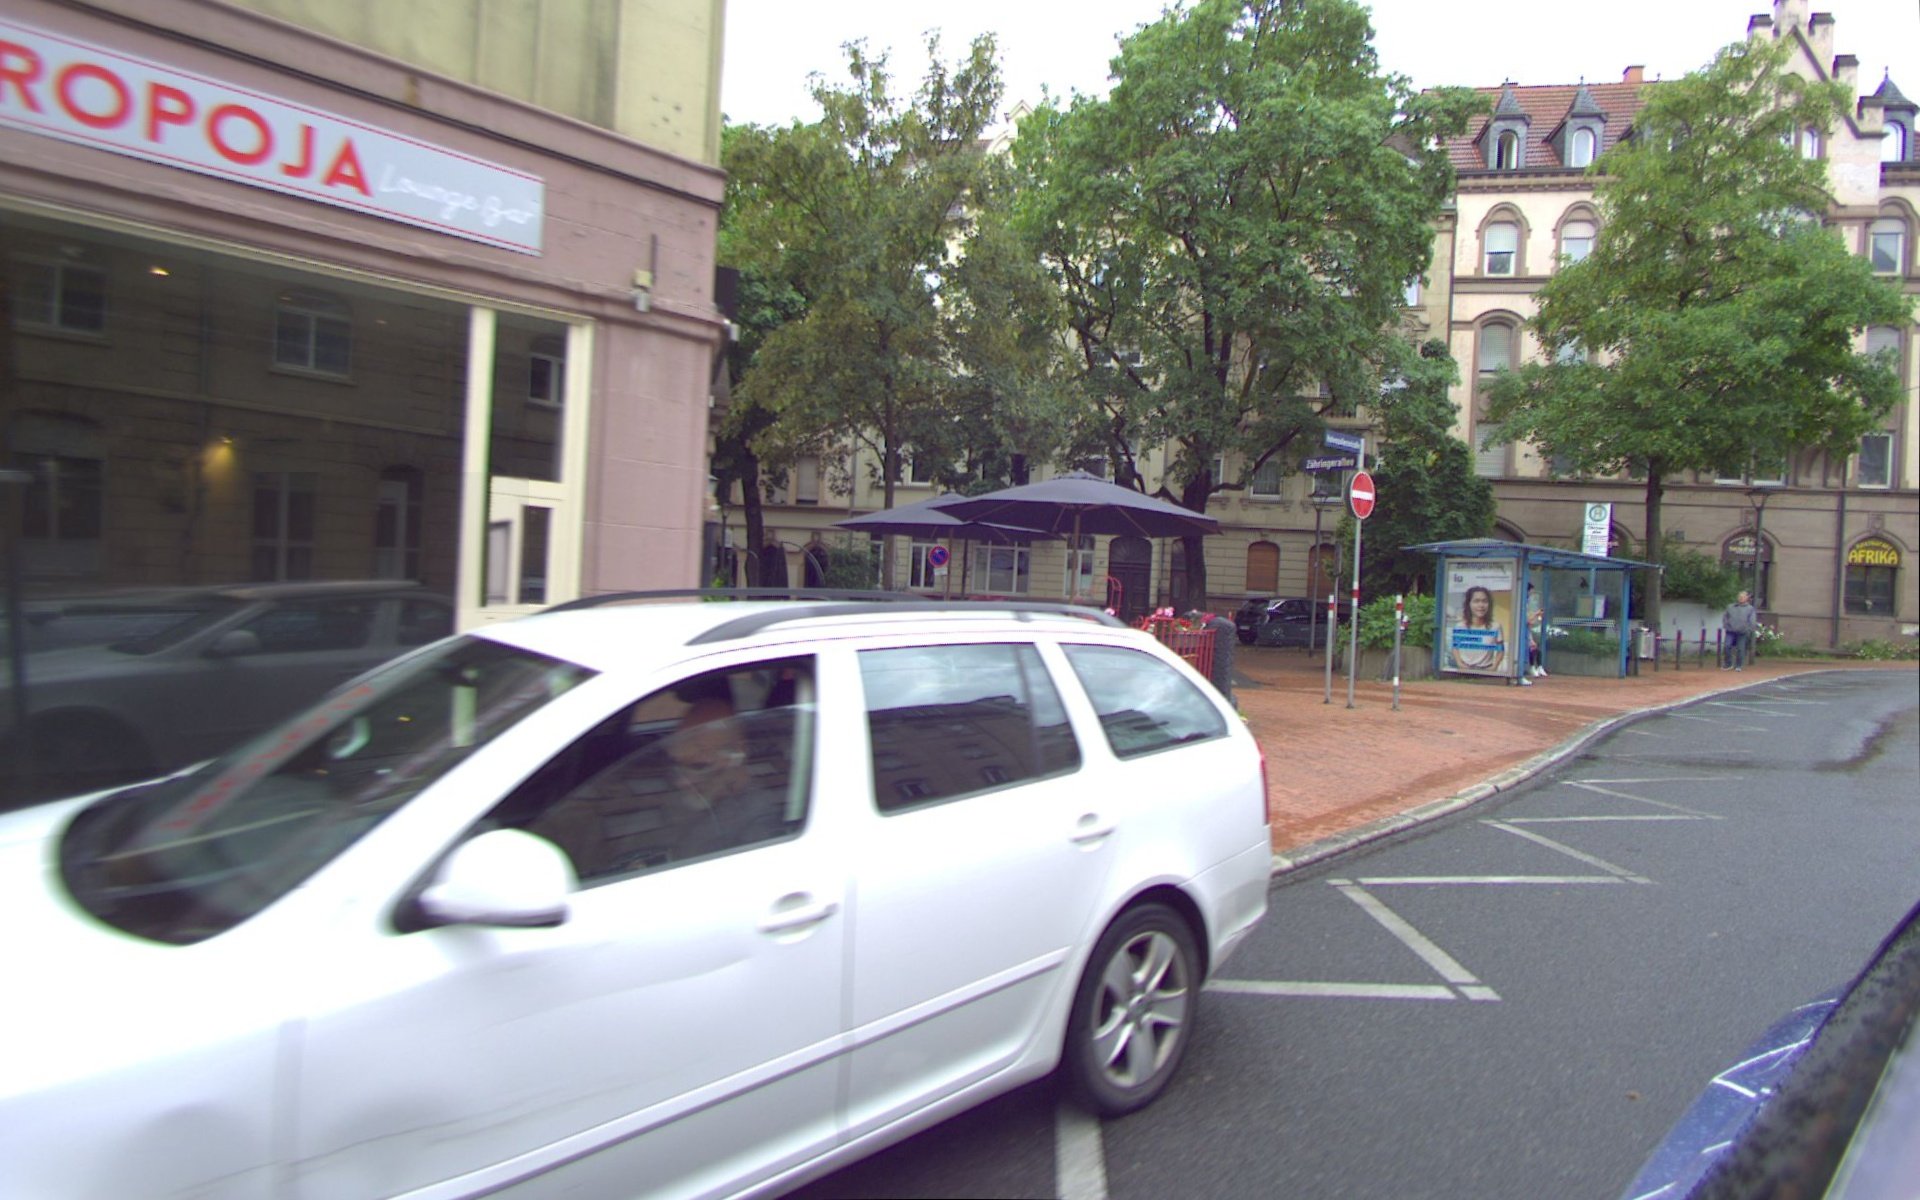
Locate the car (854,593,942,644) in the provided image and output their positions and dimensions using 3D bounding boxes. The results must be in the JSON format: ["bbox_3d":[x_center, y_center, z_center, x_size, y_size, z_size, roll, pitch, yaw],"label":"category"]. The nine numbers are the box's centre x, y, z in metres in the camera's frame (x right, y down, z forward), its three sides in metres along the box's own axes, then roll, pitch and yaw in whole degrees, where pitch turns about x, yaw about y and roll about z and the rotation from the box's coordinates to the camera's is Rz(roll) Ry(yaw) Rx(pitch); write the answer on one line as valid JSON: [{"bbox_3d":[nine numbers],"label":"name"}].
[{"bbox_3d":[-1.793,0.533,30.638,1.680,1.414,4.321,0,0,10],"label":"car"}]

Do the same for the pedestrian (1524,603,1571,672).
[{"bbox_3d":[11.160,0.700,19.236,0.523,1.296,0.572,0,-1,-30],"label":"pedestrian"}]

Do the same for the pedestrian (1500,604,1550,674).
[{"bbox_3d":[10.572,0.716,18.936,0.606,1.296,0.572,0,-1,-28],"label":"pedestrian"}]

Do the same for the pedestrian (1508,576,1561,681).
[{"bbox_3d":[10.003,0.482,17.624,0.534,1.798,0.561,0,-1,-12],"label":"pedestrian"}]

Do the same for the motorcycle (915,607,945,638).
[{"bbox_3d":[-1.036,0.775,35.167,0.443,0.933,1.620,-1,4,20],"label":"motorcycle"}]

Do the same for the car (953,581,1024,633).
[{"bbox_3d":[1.027,0.187,34.286,1.846,1.546,3.990,0,3,10],"label":"car"}]

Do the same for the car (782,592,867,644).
[{"bbox_3d":[-4.061,0.519,30.832,1.565,1.484,3.490,0,-1,10],"label":"car"}]

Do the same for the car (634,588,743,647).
[{"bbox_3d":[-8.207,0.513,30.887,1.654,1.688,3.769,0,-1,13],"label":"car"}]

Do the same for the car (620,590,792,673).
[{"bbox_3d":[-5.149,0.600,21.228,1.764,1.547,4.633,0,0,10],"label":"car"}]

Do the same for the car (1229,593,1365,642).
[{"bbox_3d":[10.692,0.526,32.146,3.769,1.495,1.775,0,-1,-18],"label":"car"}]

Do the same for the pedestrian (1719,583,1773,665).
[{"bbox_3d":[17.109,0.507,22.033,0.716,1.756,0.574,0,-1,-13],"label":"pedestrian"}]

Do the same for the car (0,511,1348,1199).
[{"bbox_3d":[-0.863,0.668,2.809,4.415,1.584,1.801,-1,0,-42],"label":"car"}]
